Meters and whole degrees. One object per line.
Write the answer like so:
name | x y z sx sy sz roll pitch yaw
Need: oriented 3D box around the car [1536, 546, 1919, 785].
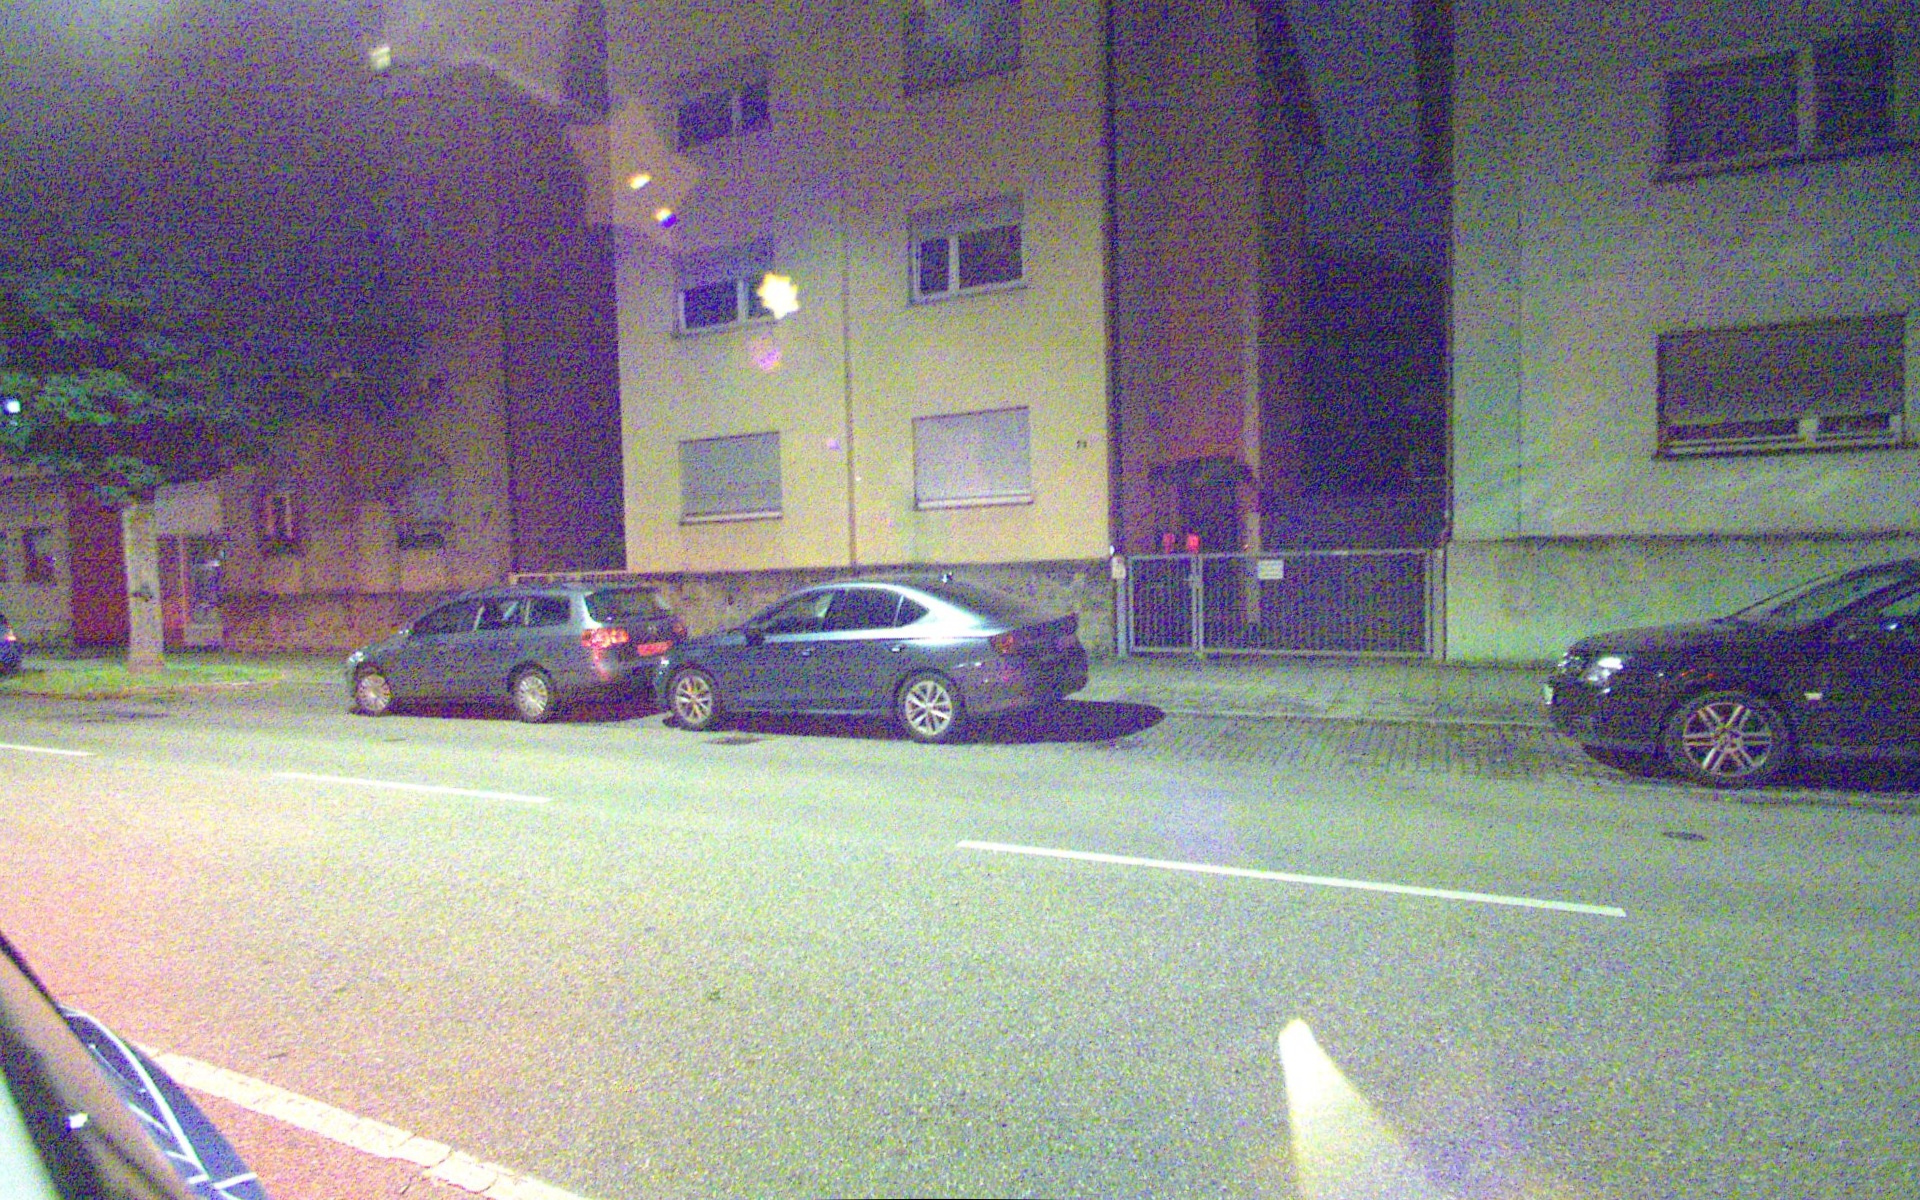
car | 6.324 0.359 6.451 4.424 1.393 1.615 -1 1 24

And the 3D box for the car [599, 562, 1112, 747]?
car | -1.097 0.450 10.008 4.837 1.497 1.759 -1 1 26

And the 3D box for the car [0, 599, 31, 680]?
car | -20.040 0.804 19.558 3.968 1.505 1.705 -1 2 26

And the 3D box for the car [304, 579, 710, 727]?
car | -5.467 0.557 12.139 4.739 1.497 1.759 -1 1 25
